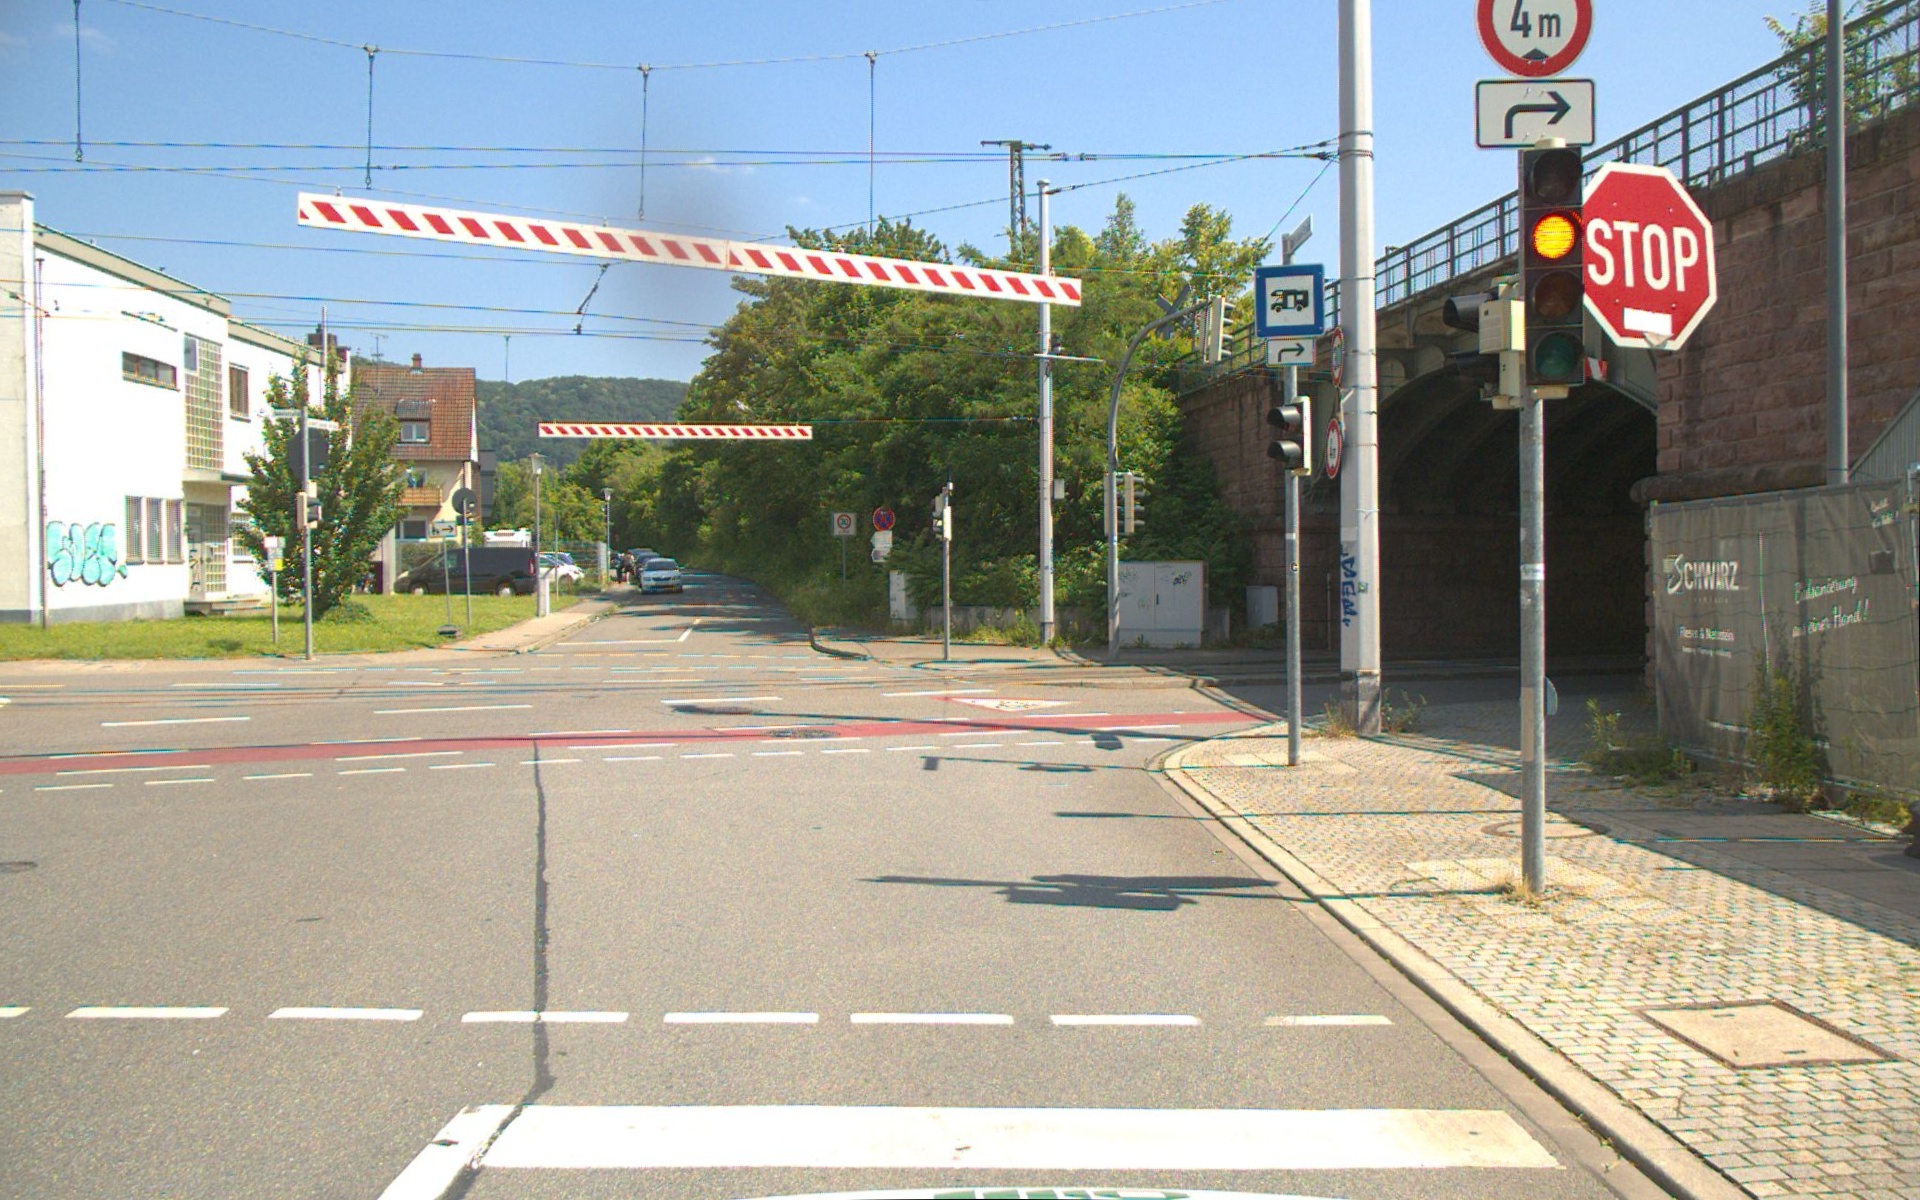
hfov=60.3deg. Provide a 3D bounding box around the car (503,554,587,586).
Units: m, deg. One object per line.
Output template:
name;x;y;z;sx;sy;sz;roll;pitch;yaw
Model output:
car;-19.421;-1.383;77.533;3.650;1.395;1.602;1;0;-8

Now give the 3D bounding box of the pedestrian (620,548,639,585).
pedestrian;-16.302;-1.655;81.598;0.860;1.793;0.729;1;-1;-10

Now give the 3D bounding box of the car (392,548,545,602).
car;-18.042;-0.943;60.917;5.153;1.847;1.995;-1;1;-11

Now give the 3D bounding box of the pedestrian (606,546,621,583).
pedestrian;-17.105;-1.751;81.637;0.642;1.793;0.802;1;-1;-10

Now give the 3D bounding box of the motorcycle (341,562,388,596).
motorcycle;-19.620;-0.675;54.534;0.835;1.050;2.564;1;0;-6

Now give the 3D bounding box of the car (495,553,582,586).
car;-19.125;-1.371;75.118;3.650;1.395;1.601;1;0;-8

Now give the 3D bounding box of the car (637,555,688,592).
car;-13.005;-1.190;72.536;2.048;1.536;4.531;1;1;-9
